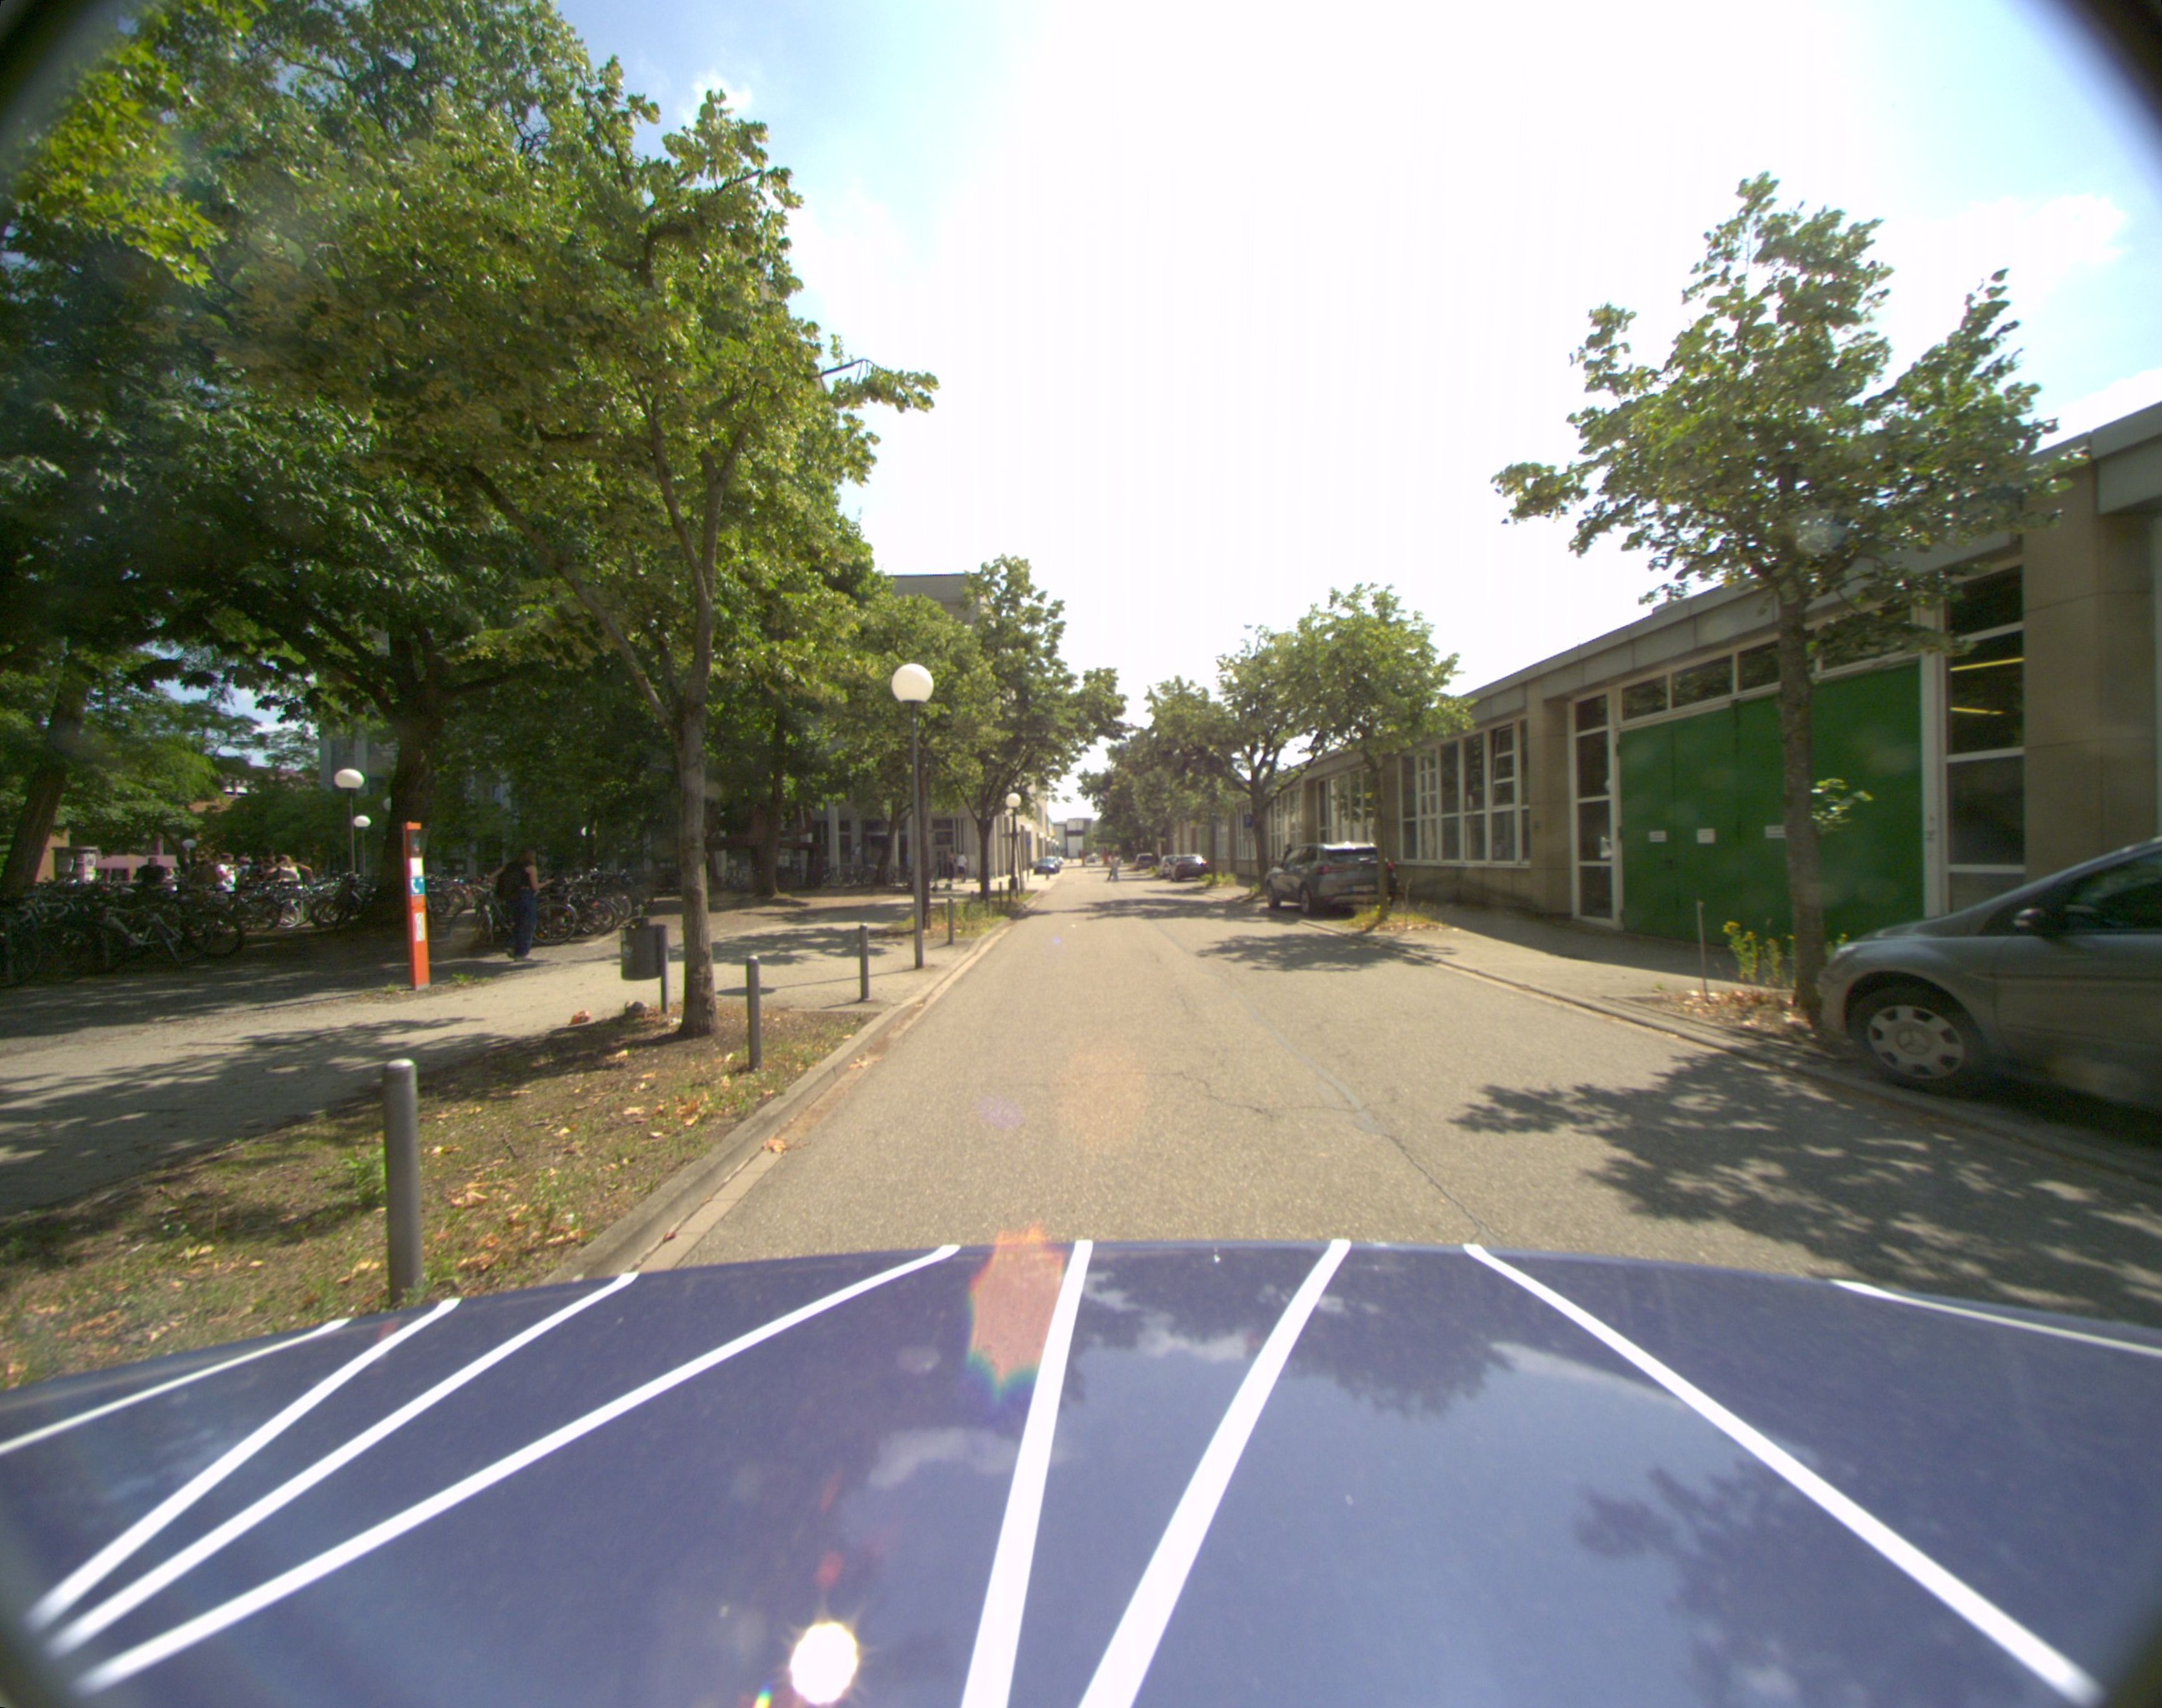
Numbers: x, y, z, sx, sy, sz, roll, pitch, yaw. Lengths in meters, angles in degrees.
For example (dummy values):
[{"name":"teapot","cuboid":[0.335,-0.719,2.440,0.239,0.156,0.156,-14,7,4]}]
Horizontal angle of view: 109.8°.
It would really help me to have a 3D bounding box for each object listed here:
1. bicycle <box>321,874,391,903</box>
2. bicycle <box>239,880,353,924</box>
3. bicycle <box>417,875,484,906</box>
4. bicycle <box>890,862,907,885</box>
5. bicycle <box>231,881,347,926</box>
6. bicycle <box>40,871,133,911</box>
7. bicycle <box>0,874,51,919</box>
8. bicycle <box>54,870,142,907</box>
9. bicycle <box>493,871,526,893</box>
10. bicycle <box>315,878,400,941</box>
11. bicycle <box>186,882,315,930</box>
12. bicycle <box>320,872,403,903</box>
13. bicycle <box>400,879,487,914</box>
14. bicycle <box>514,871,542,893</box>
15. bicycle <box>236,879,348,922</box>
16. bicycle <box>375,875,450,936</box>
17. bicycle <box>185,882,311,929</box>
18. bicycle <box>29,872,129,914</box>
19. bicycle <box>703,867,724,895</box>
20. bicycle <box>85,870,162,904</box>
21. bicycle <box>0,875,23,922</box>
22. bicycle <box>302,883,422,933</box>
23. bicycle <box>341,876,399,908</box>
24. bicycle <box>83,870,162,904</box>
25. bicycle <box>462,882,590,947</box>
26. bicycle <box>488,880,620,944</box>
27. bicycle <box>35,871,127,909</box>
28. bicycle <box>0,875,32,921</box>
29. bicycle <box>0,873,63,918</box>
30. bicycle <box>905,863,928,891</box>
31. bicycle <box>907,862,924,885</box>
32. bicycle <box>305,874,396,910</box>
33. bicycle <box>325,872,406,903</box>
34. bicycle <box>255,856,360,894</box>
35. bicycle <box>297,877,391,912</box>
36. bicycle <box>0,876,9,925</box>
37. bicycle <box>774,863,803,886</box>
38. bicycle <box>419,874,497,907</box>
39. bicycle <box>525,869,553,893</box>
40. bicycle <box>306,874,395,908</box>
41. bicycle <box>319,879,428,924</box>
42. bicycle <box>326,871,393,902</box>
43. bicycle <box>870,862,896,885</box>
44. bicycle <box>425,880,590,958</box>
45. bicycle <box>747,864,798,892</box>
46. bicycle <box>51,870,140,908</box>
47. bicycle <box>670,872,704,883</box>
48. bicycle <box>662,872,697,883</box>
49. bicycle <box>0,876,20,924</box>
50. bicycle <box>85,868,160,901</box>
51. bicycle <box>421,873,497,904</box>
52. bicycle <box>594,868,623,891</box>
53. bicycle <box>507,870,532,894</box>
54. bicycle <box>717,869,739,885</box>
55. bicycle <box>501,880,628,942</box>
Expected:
[{"name":"bicycle","cuboid":[-26.119,1.222,27.396,0.377,0.973,1.806,1,1,44]},{"name":"bicycle","cuboid":[-19.242,1.155,18.684,1.908,0.973,0.377,0,1,-39]},{"name":"bicycle","cuboid":[-21.641,1.247,26.099,1.746,1.017,0.292,0,1,-40]},{"name":"bicycle","cuboid":[-9.407,1.008,39.203,0.561,1.134,1.490,1,-1,-2]},{"name":"bicycle","cuboid":[-19.039,1.169,18.319,1.908,0.973,0.377,0,1,-39]},{"name":"bicycle","cuboid":[-28.983,1.069,22.174,1.614,1.087,0.347,0,1,-37]},{"name":"bicycle","cuboid":[-26.574,1.036,18.592,1.614,1.087,0.347,0,1,-29]},{"name":"bicycle","cuboid":[-30.217,1.055,23.392,1.614,1.087,0.347,0,1,-37]},{"name":"bicycle","cuboid":[-29.203,1.412,38.834,0.478,1.077,1.688,-3,-1,-5]},{"name":"bicycle","cuboid":[-14.124,1.048,14.900,0.479,1.076,1.900,0,0,-20]},{"name":"bicycle","cuboid":[-18.631,1.150,17.105,1.908,0.973,0.477,0,1,-39]},{"name":"bicycle","cuboid":[-23.401,1.076,24.740,1.907,0.973,0.378,0,1,-30]},{"name":"bicycle","cuboid":[-18.806,1.249,22.458,1.907,0.973,0.378,0,1,-30]},{"name":"bicycle","cuboid":[-28.391,1.427,39.033,0.479,1.077,1.687,-3,-1,-13]},{"name":"bicycle","cuboid":[-19.839,1.157,19.166,1.907,0.973,0.477,0,1,-38]},{"name":"bicycle","cuboid":[-13.419,1.000,15.304,0.479,1.076,1.900,0,0,-20]},{"name":"bicycle","cuboid":[-19.001,1.150,17.389,1.908,0.973,0.377,0,1,-39]},{"name":"bicycle","cuboid":[-27.360,1.040,20.773,1.614,1.087,0.347,0,1,-35]},{"name":"bicycle","cuboid":[-15.516,1.110,32.059,0.476,1.103,1.665,-2,2,-36]},{"name":"bicycle","cuboid":[-32.509,1.100,25.827,0.347,1.087,1.615,1,1,42]},{"name":"bicycle","cuboid":[-26.009,1.046,17.649,1.614,1.087,0.477,0,1,-29]},{"name":"bicycle","cuboid":[-16.087,1.184,17.042,0.477,0.973,1.908,1,1,42]},{"name":"bicycle","cuboid":[-26.461,1.394,28.300,0.352,1.077,1.474,-3,0,35]},{"name":"bicycle","cuboid":[-32.248,1.105,25.598,0.347,1.087,1.615,1,1,42]},{"name":"bicycle","cuboid":[-9.739,1.051,13.374,1.773,1.076,0.438,-1,0,-11]},{"name":"bicycle","cuboid":[-9.542,1.035,13.797,1.950,1.076,0.404,-1,0,-11]},{"name":"bicycle","cuboid":[-29.890,1.056,22.740,1.614,1.087,0.347,0,1,-37]},{"name":"bicycle","cuboid":[-26.181,1.044,17.956,1.614,1.087,0.347,0,1,-29]},{"name":"bicycle","cuboid":[-26.747,1.036,18.905,1.614,1.087,0.477,0,1,-29]},{"name":"bicycle","cuboid":[-7.102,0.975,32.677,0.629,1.078,1.684,-3,3,-23]},{"name":"bicycle","cuboid":[-8.482,0.975,38.947,0.561,1.135,1.489,1,1,-2]},{"name":"bicycle","cuboid":[-21.589,1.112,22.488,1.907,0.973,0.378,0,1,-30]},{"name":"bicycle","cuboid":[-23.608,1.083,25.109,1.907,0.973,0.378,0,1,-30]},{"name":"bicycle","cuboid":[-20.539,0.540,20.224,1.907,0.973,0.378,0,1,-30]},{"name":"bicycle","cuboid":[-21.405,1.165,22.112,1.907,0.973,0.378,0,1,-30]},{"name":"bicycle","cuboid":[-25.271,1.060,16.882,1.614,1.087,0.477,0,1,-29]},{"name":"bicycle","cuboid":[-14.022,0.987,36.465,0.463,1.071,1.829,0,-1,8]},{"name":"bicycle","cuboid":[-20.241,1.170,24.719,0.377,0.973,1.908,1,1,40]},{"name":"bicycle","cuboid":[-25.838,1.291,36.248,0.352,1.077,1.471,-1,0,-3]},{"name":"bicycle","cuboid":[-22.108,1.100,23.026,1.907,0.973,0.378,0,1,-30]},{"name":"bicycle","cuboid":[-16.985,1.120,18.299,1.908,0.973,0.477,0,1,-41]},{"name":"bicycle","cuboid":[-24.246,1.072,25.574,1.600,0.973,0.403,0,1,-39]},{"name":"bicycle","cuboid":[-10.148,0.994,38.905,0.491,1.134,1.529,0,-1,20]},{"name":"bicycle","cuboid":[-9.187,1.022,12.253,2.021,1.160,0.651,-1,0,-11]},{"name":"bicycle","cuboid":[-13.321,1.009,32.824,1.928,1.103,0.631,-2,2,-36]},{"name":"bicycle","cuboid":[-30.060,1.057,23.207,1.614,1.087,0.335,0,1,-37]},{"name":"bicycle","cuboid":[-27.035,1.611,52.157,1.990,0.755,0.643,0,-1,-10]},{"name":"bicycle","cuboid":[-27.122,1.599,51.360,1.990,0.755,0.643,0,-1,-10]},{"name":"bicycle","cuboid":[-25.448,1.058,17.188,1.614,1.087,0.477,0,1,-29]},{"name":"bicycle","cuboid":[-33.858,1.070,26.858,0.347,1.087,1.615,1,1,42]},{"name":"bicycle","cuboid":[-20.759,1.134,25.393,0.377,0.973,1.908,1,1,42]},{"name":"bicycle","cuboid":[-24.123,1.304,38.805,0.454,1.123,1.688,-3,-1,-5]},{"name":"bicycle","cuboid":[-26.892,1.321,36.387,0.353,1.077,1.470,-1,0,-12]},{"name":"bicycle","cuboid":[-21.941,1.438,47.244,0.337,0.894,1.777,-2,1,6]},{"name":"bicycle","cuboid":[-9.637,1.046,14.218,1.950,1.076,0.404,-1,0,-11]}]
